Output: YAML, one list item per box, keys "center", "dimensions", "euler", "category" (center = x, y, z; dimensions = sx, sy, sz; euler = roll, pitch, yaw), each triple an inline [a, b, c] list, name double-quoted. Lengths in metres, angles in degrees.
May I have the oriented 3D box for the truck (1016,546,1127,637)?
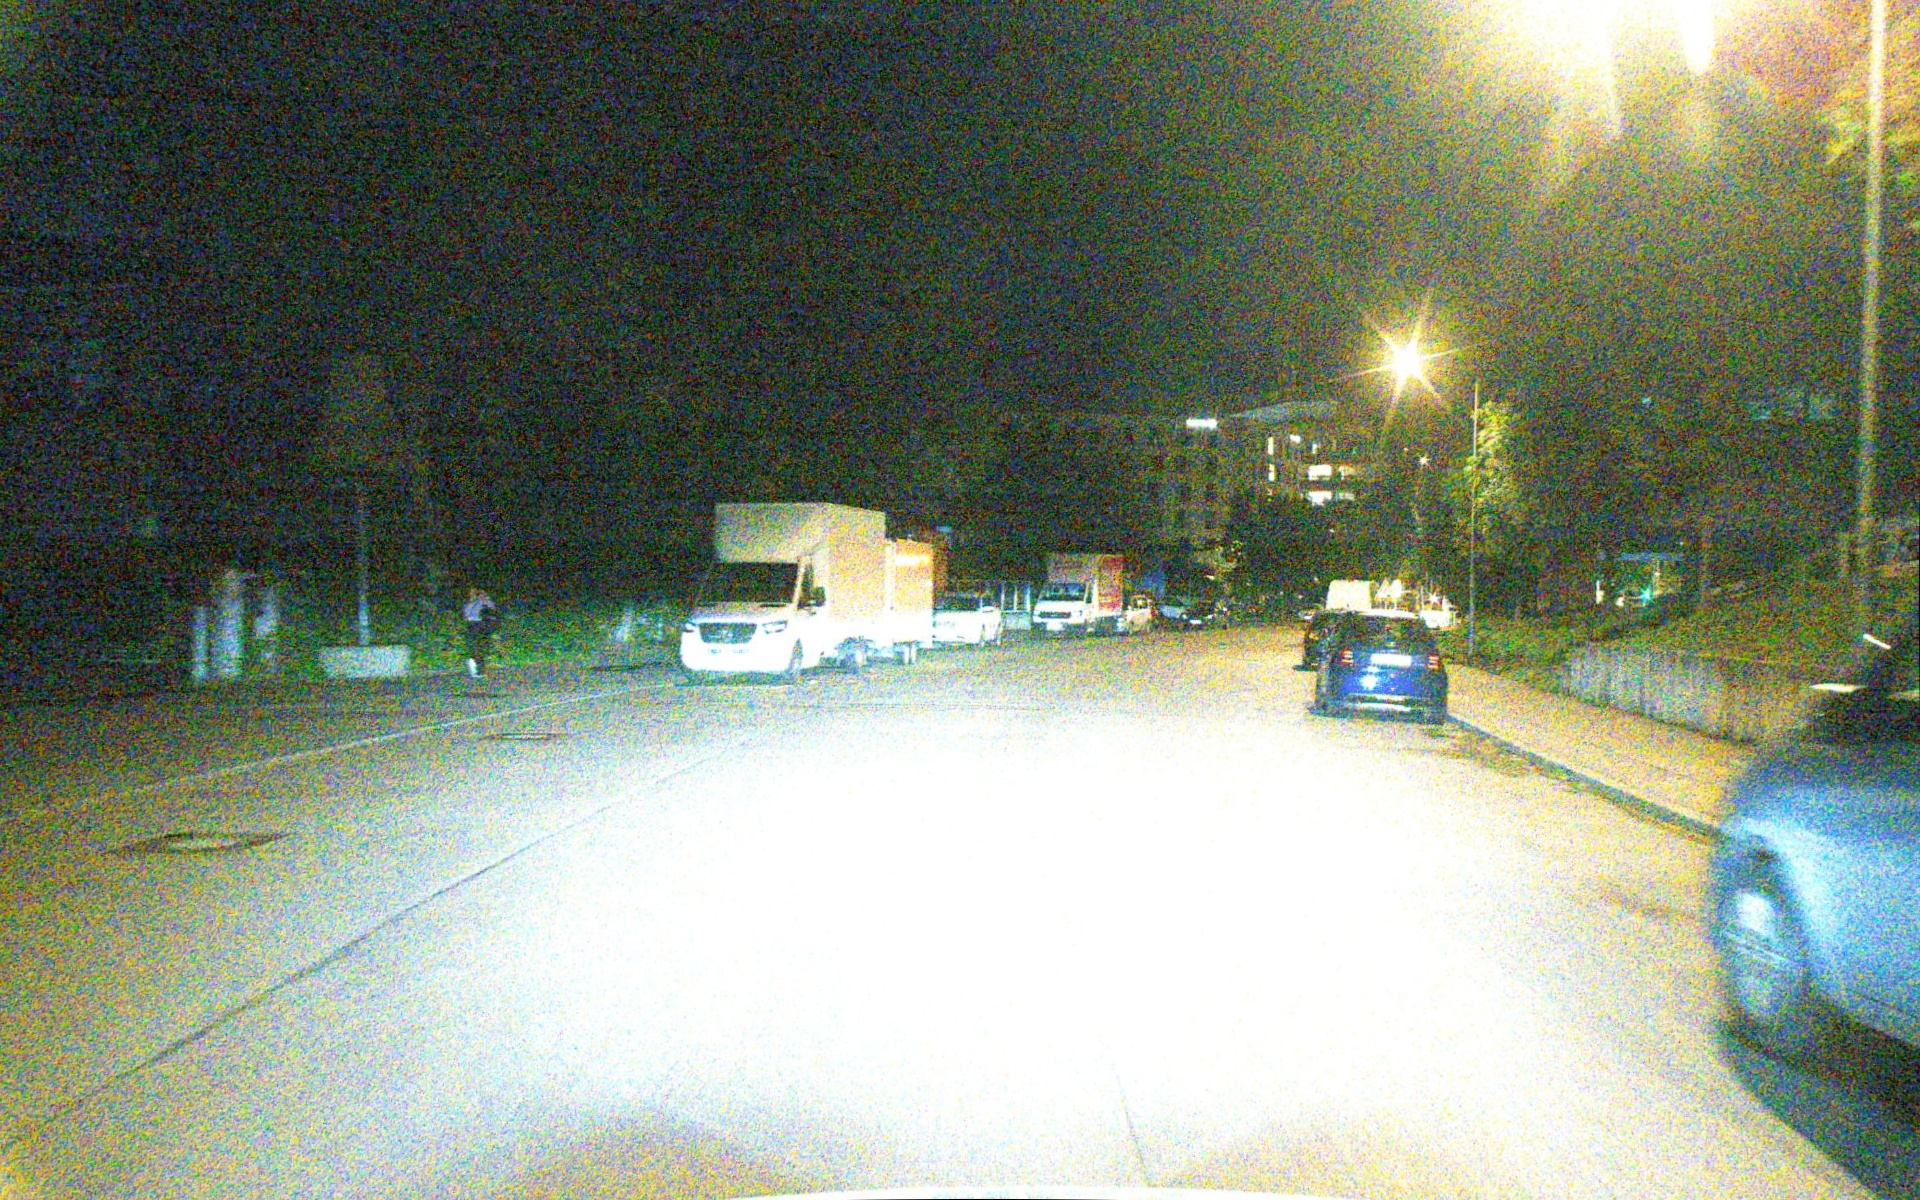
- center: [4.447, -0.297, 64.542]
  dimensions: [2.490, 3.338, 7.314]
  euler: [1, 0, 19]
  category: "truck"

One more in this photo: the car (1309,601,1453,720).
- center: [6.175, 0.834, 24.587]
  dimensions: [1.574, 1.538, 3.828]
  euler: [3, 0, 8]
  category: "car"

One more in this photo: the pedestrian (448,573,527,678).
- center: [-7.818, 0.411, 27.390]
  dimensions: [0.764, 1.700, 1.002]
  euler: [-1, -1, 36]
  category: "pedestrian"

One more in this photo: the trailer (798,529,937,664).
- center: [-2.006, -0.070, 37.539]
  dimensions: [2.157, 2.844, 4.620]
  euler: [1, 0, 9]
  category: "trailer"

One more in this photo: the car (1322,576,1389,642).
- center: [16.535, 0.361, 68.965]
  dimensions: [1.979, 2.570, 6.052]
  euler: [2, 0, 20]
  category: "car"

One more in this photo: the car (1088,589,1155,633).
- center: [6.965, 0.466, 70.798]
  dimensions: [1.791, 1.848, 4.840]
  euler: [0, 0, 19]
  category: "car"

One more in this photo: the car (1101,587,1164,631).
- center: [9.587, 0.496, 91.602]
  dimensions: [1.953, 2.362, 4.964]
  euler: [-1, -1, 24]
  category: "car"

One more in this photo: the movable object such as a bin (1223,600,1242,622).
- center: [18.851, 0.733, 114.243]
  dimensions: [1.140, 1.522, 1.066]
  euler: [0, 0, 18]
  category: "movable object such as a bin"

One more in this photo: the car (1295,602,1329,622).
- center: [26.730, 0.896, 125.589]
  dimensions: [1.872, 1.428, 4.338]
  euler: [0, 0, 21]
  category: "car"

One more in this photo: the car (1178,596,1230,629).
- center: [12.985, 0.677, 87.913]
  dimensions: [1.720, 1.553, 4.321]
  euler: [3, -1, 22]
  category: "car"

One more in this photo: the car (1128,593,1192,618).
- center: [13.200, 0.381, 109.122]
  dimensions: [3.904, 1.598, 1.817]
  euler: [0, 0, 21]
  category: "car"

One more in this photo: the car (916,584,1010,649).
- center: [0.151, 0.474, 48.704]
  dimensions: [1.951, 1.803, 4.696]
  euler: [1, 0, 10]
  category: "car"

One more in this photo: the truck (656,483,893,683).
- center: [-3.261, -0.280, 31.140]
  dimensions: [2.322, 3.300, 7.238]
  euler: [1, 0, 11]
  category: "truck"

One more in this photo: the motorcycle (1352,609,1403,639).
- center: [18.386, 1.061, 72.865]
  dimensions: [0.760, 1.204, 2.156]
  euler: [2, 0, -38]
  category: "motorcycle"

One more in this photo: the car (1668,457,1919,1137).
- center: [3.853, 0.610, 4.172]
  dimensions: [1.952, 2.049, 5.356]
  euler: [1, 1, 2]
  category: "car"

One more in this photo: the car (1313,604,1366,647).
- center: [14.406, 0.952, 62.645]
  dimensions: [1.674, 1.534, 4.643]
  euler: [1, 0, 16]
  category: "car"

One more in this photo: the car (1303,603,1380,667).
- center: [9.834, 0.862, 42.840]
  dimensions: [1.674, 1.534, 4.003]
  euler: [2, 0, 9]
  category: "car"
